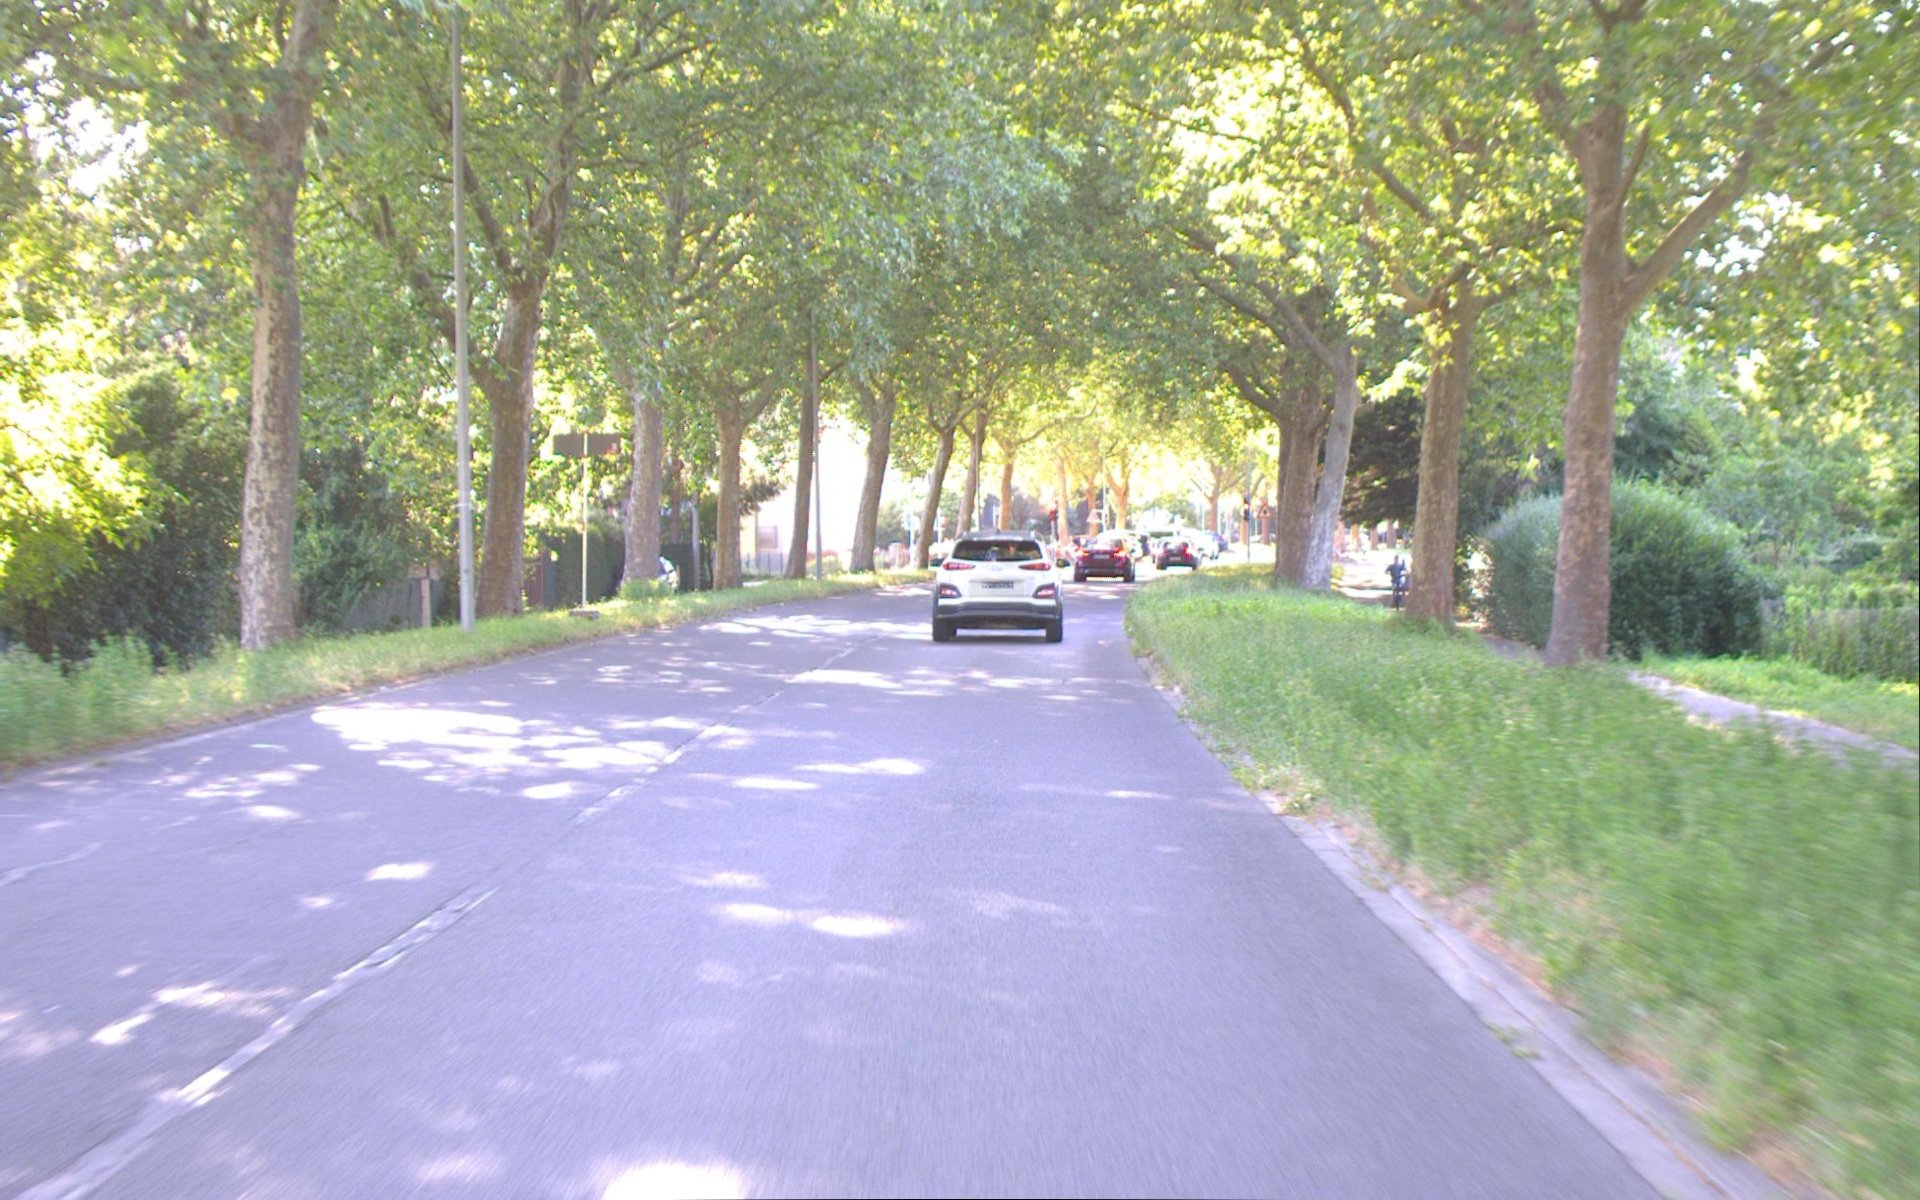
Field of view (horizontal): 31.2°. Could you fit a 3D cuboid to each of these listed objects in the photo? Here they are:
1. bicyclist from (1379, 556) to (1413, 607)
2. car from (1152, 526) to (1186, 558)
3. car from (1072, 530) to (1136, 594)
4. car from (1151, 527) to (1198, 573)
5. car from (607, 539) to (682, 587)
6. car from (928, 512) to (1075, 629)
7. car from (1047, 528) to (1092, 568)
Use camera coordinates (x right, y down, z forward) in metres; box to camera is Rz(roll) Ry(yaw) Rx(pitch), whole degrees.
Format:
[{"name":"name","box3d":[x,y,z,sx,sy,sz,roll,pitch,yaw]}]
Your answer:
[{"name":"bicyclist","box3d":[11.809,-0.501,93.047,0.734,1.361,0.771,1,0,-6]},{"name":"car","box3d":[13.341,-3.693,219.319,1.994,2.007,3.999,1,1,6]},{"name":"car","box3d":[4.648,-1.223,110.801,1.994,2.007,4.000,1,1,3]},{"name":"car","box3d":[9.477,-2.200,151.936,1.994,2.007,4.000,1,1,3]},{"name":"car","box3d":[-9.401,-1.127,102.604,1.752,1.300,4.000,-1,2,1]},{"name":"car","box3d":[0.623,-0.433,49.111,1.993,1.569,4.000,1,1,2]},{"name":"car","box3d":[5.662,-2.691,177.882,1.994,2.007,3.999,1,1,6]}]
